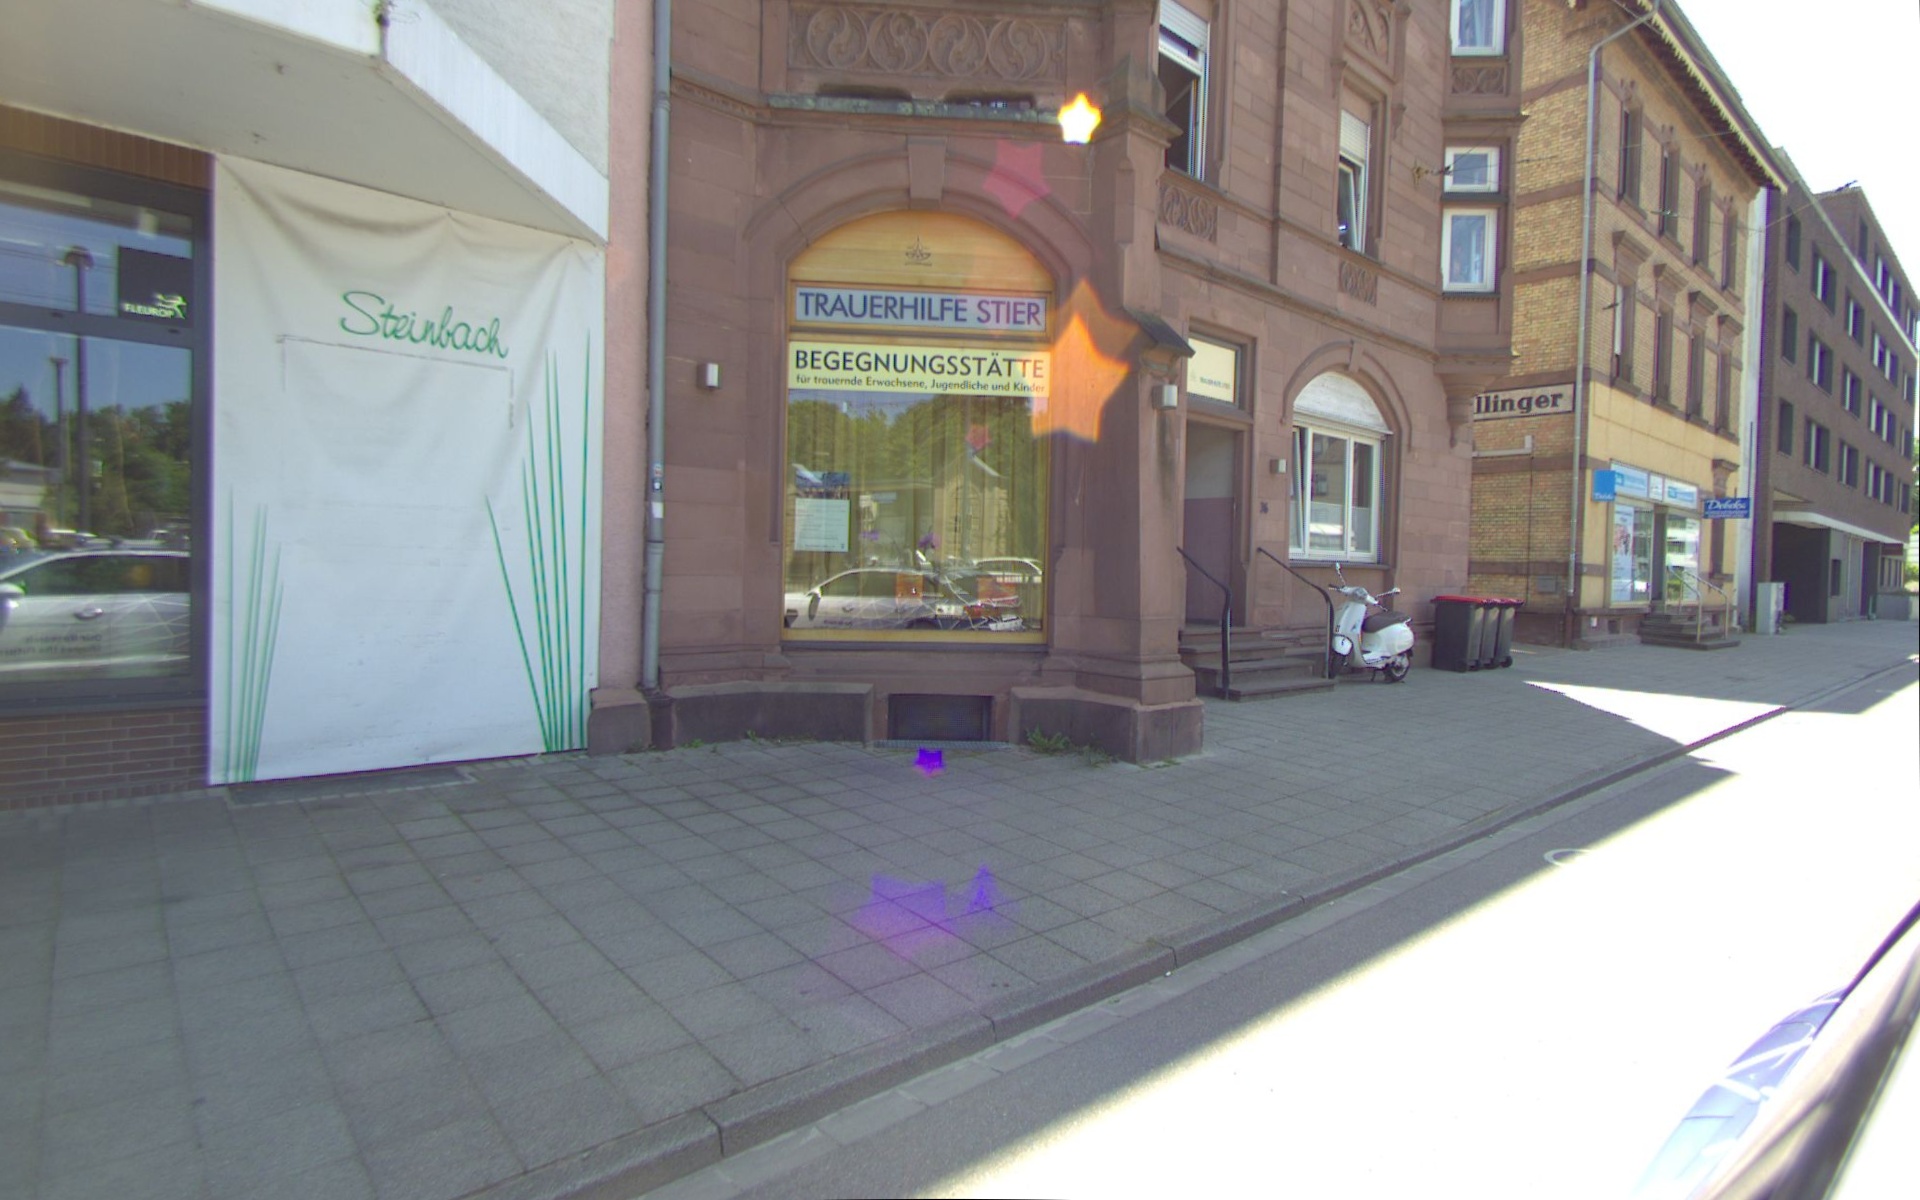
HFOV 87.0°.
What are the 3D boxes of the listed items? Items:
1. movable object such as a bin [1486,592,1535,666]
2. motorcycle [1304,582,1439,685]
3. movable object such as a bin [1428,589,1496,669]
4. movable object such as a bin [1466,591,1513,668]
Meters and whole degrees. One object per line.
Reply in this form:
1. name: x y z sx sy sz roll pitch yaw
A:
1. movable object such as a bin: 8.211 0.419 15.098 0.646 1.060 0.376 0 4 -42
2. motorcycle: 4.977 0.377 12.196 1.843 1.163 0.529 0 2 -33
3. movable object such as a bin: 7.173 0.398 14.460 0.549 1.060 0.649 0 4 -41
4. movable object such as a bin: 7.700 0.420 14.714 0.549 1.060 0.376 0 4 -42
